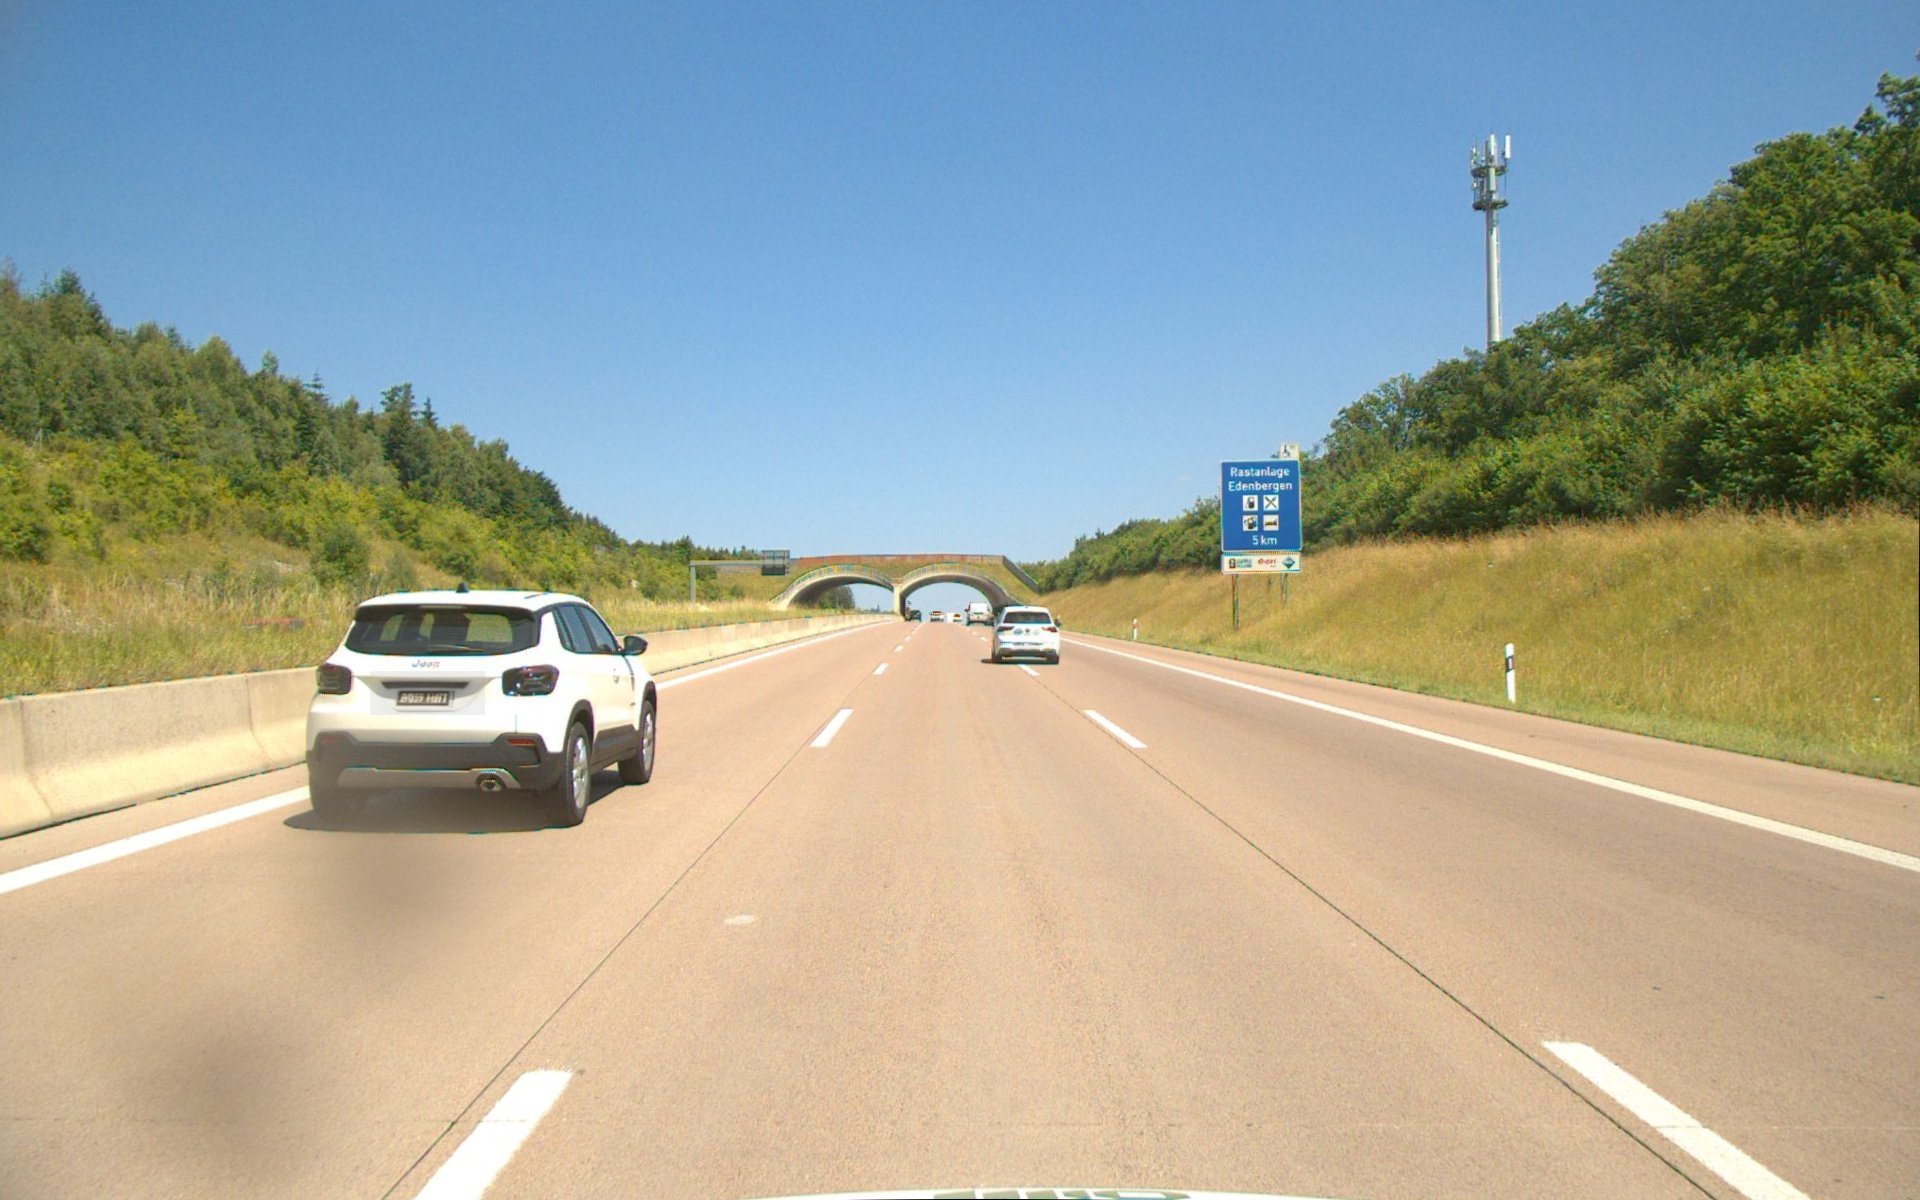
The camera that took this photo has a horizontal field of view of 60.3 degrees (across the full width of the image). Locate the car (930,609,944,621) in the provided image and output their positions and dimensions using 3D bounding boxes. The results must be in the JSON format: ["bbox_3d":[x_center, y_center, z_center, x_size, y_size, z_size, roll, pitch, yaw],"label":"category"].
[{"bbox_3d":[-3.075,1.975,222.045,1.852,1.489,4.000,1,0,-1],"label":"car"}]

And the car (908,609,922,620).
[{"bbox_3d":[-6.907,2.229,253.631,1.852,1.489,4.001,1,1,1],"label":"car"}]

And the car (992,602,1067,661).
[{"bbox_3d":[1.781,0.796,43.638,1.852,1.422,4.001,1,0,1],"label":"car"}]

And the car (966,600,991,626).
[{"bbox_3d":[1.571,1.077,141.477,2.067,2.089,4.001,0,1,1],"label":"car"}]

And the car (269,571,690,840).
[{"bbox_3d":[-3.333,0.645,12.536,1.841,1.635,4.833,0,0,-1],"label":"car"}]
